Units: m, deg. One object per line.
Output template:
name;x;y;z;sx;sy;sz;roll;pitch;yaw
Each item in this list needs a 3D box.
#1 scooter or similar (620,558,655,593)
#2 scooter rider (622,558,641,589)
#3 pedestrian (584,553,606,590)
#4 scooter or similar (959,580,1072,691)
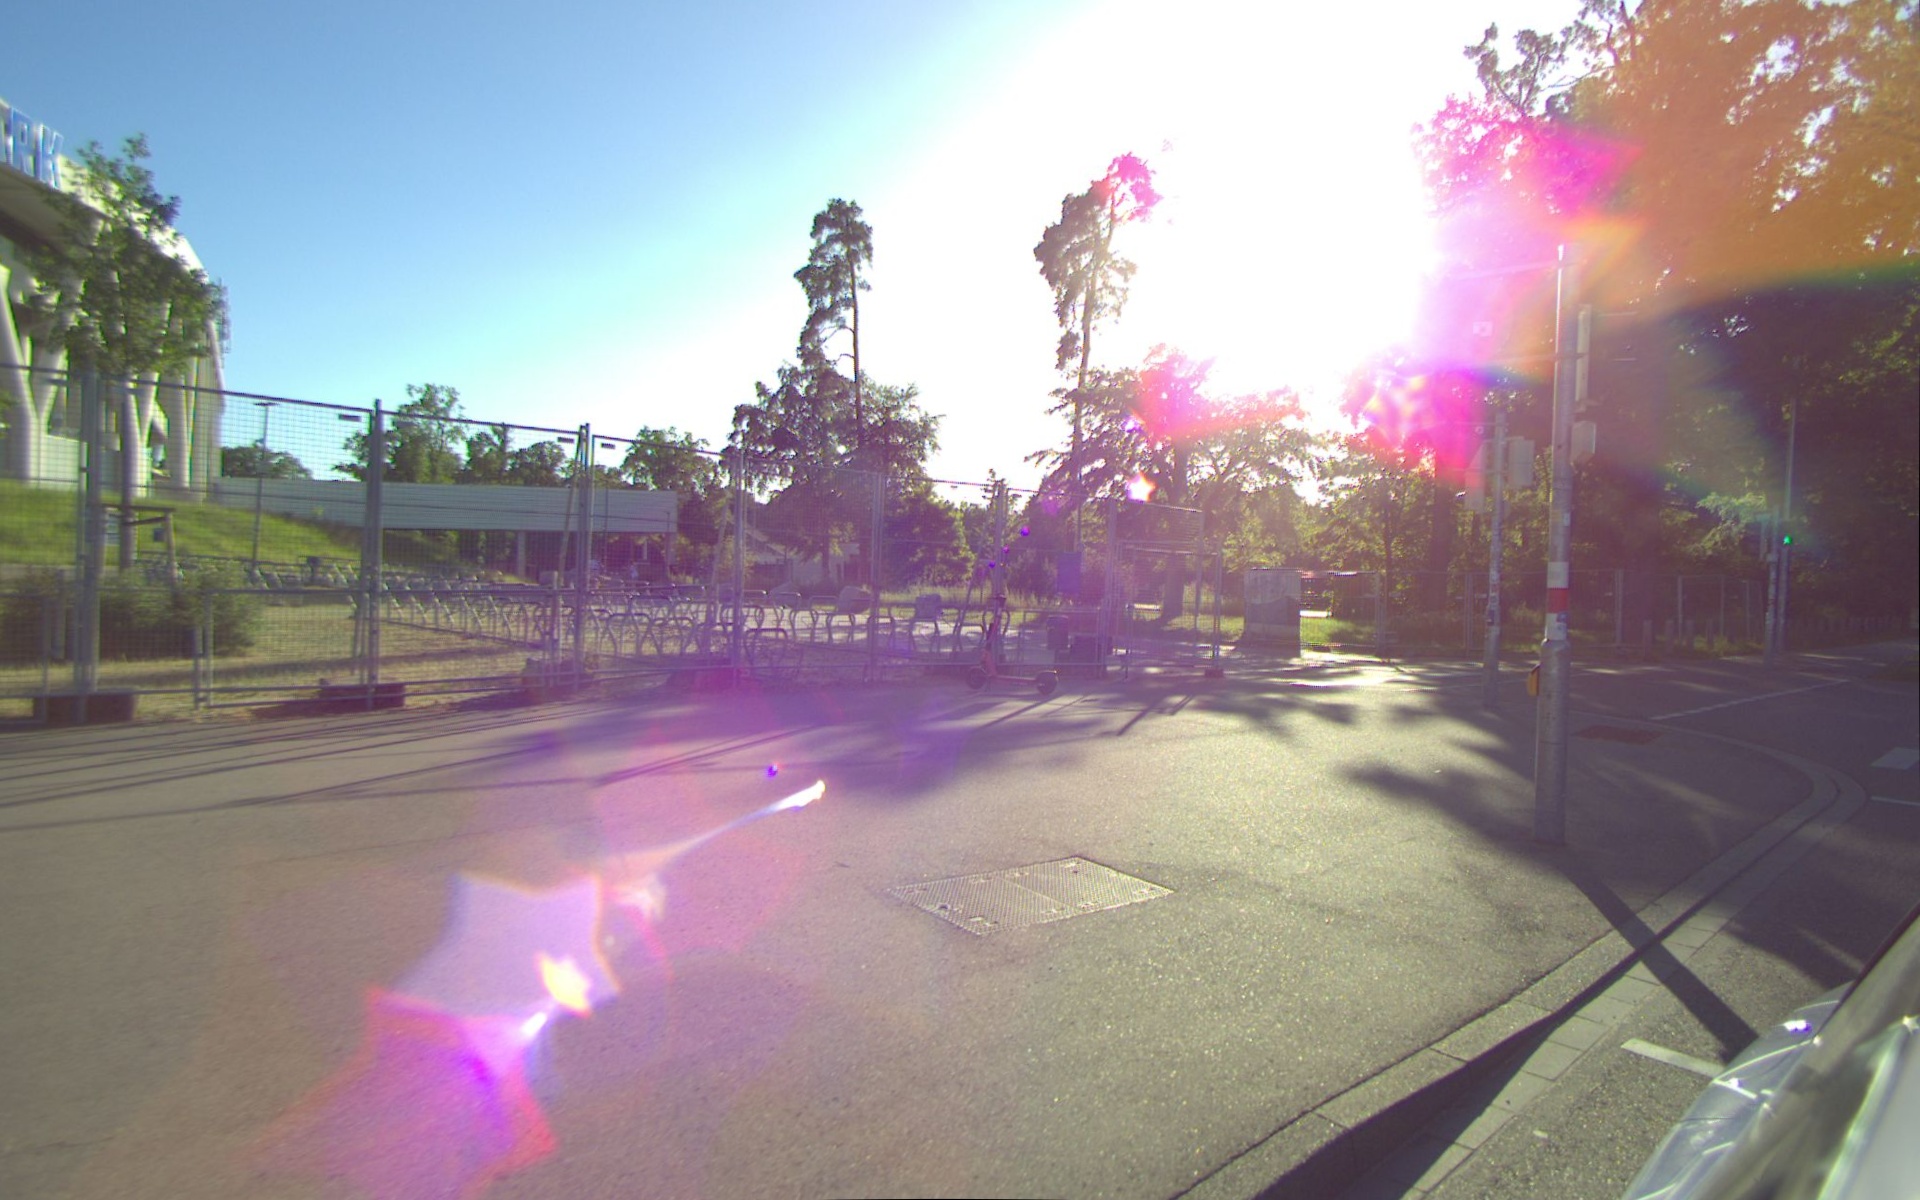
scooter or similar;-13.935;-1.047;43.800;0.640;1.509;1.518;-1;0;20
scooter rider;-14.096;-1.144;43.466;0.538;1.290;0.602;-1;-1;22
pedestrian;-16.033;-1.257;44.454;0.723;1.582;0.580;0;-1;-44
scooter or similar;0.697;0.422;12.469;1.338;1.304;0.602;1;0;8
